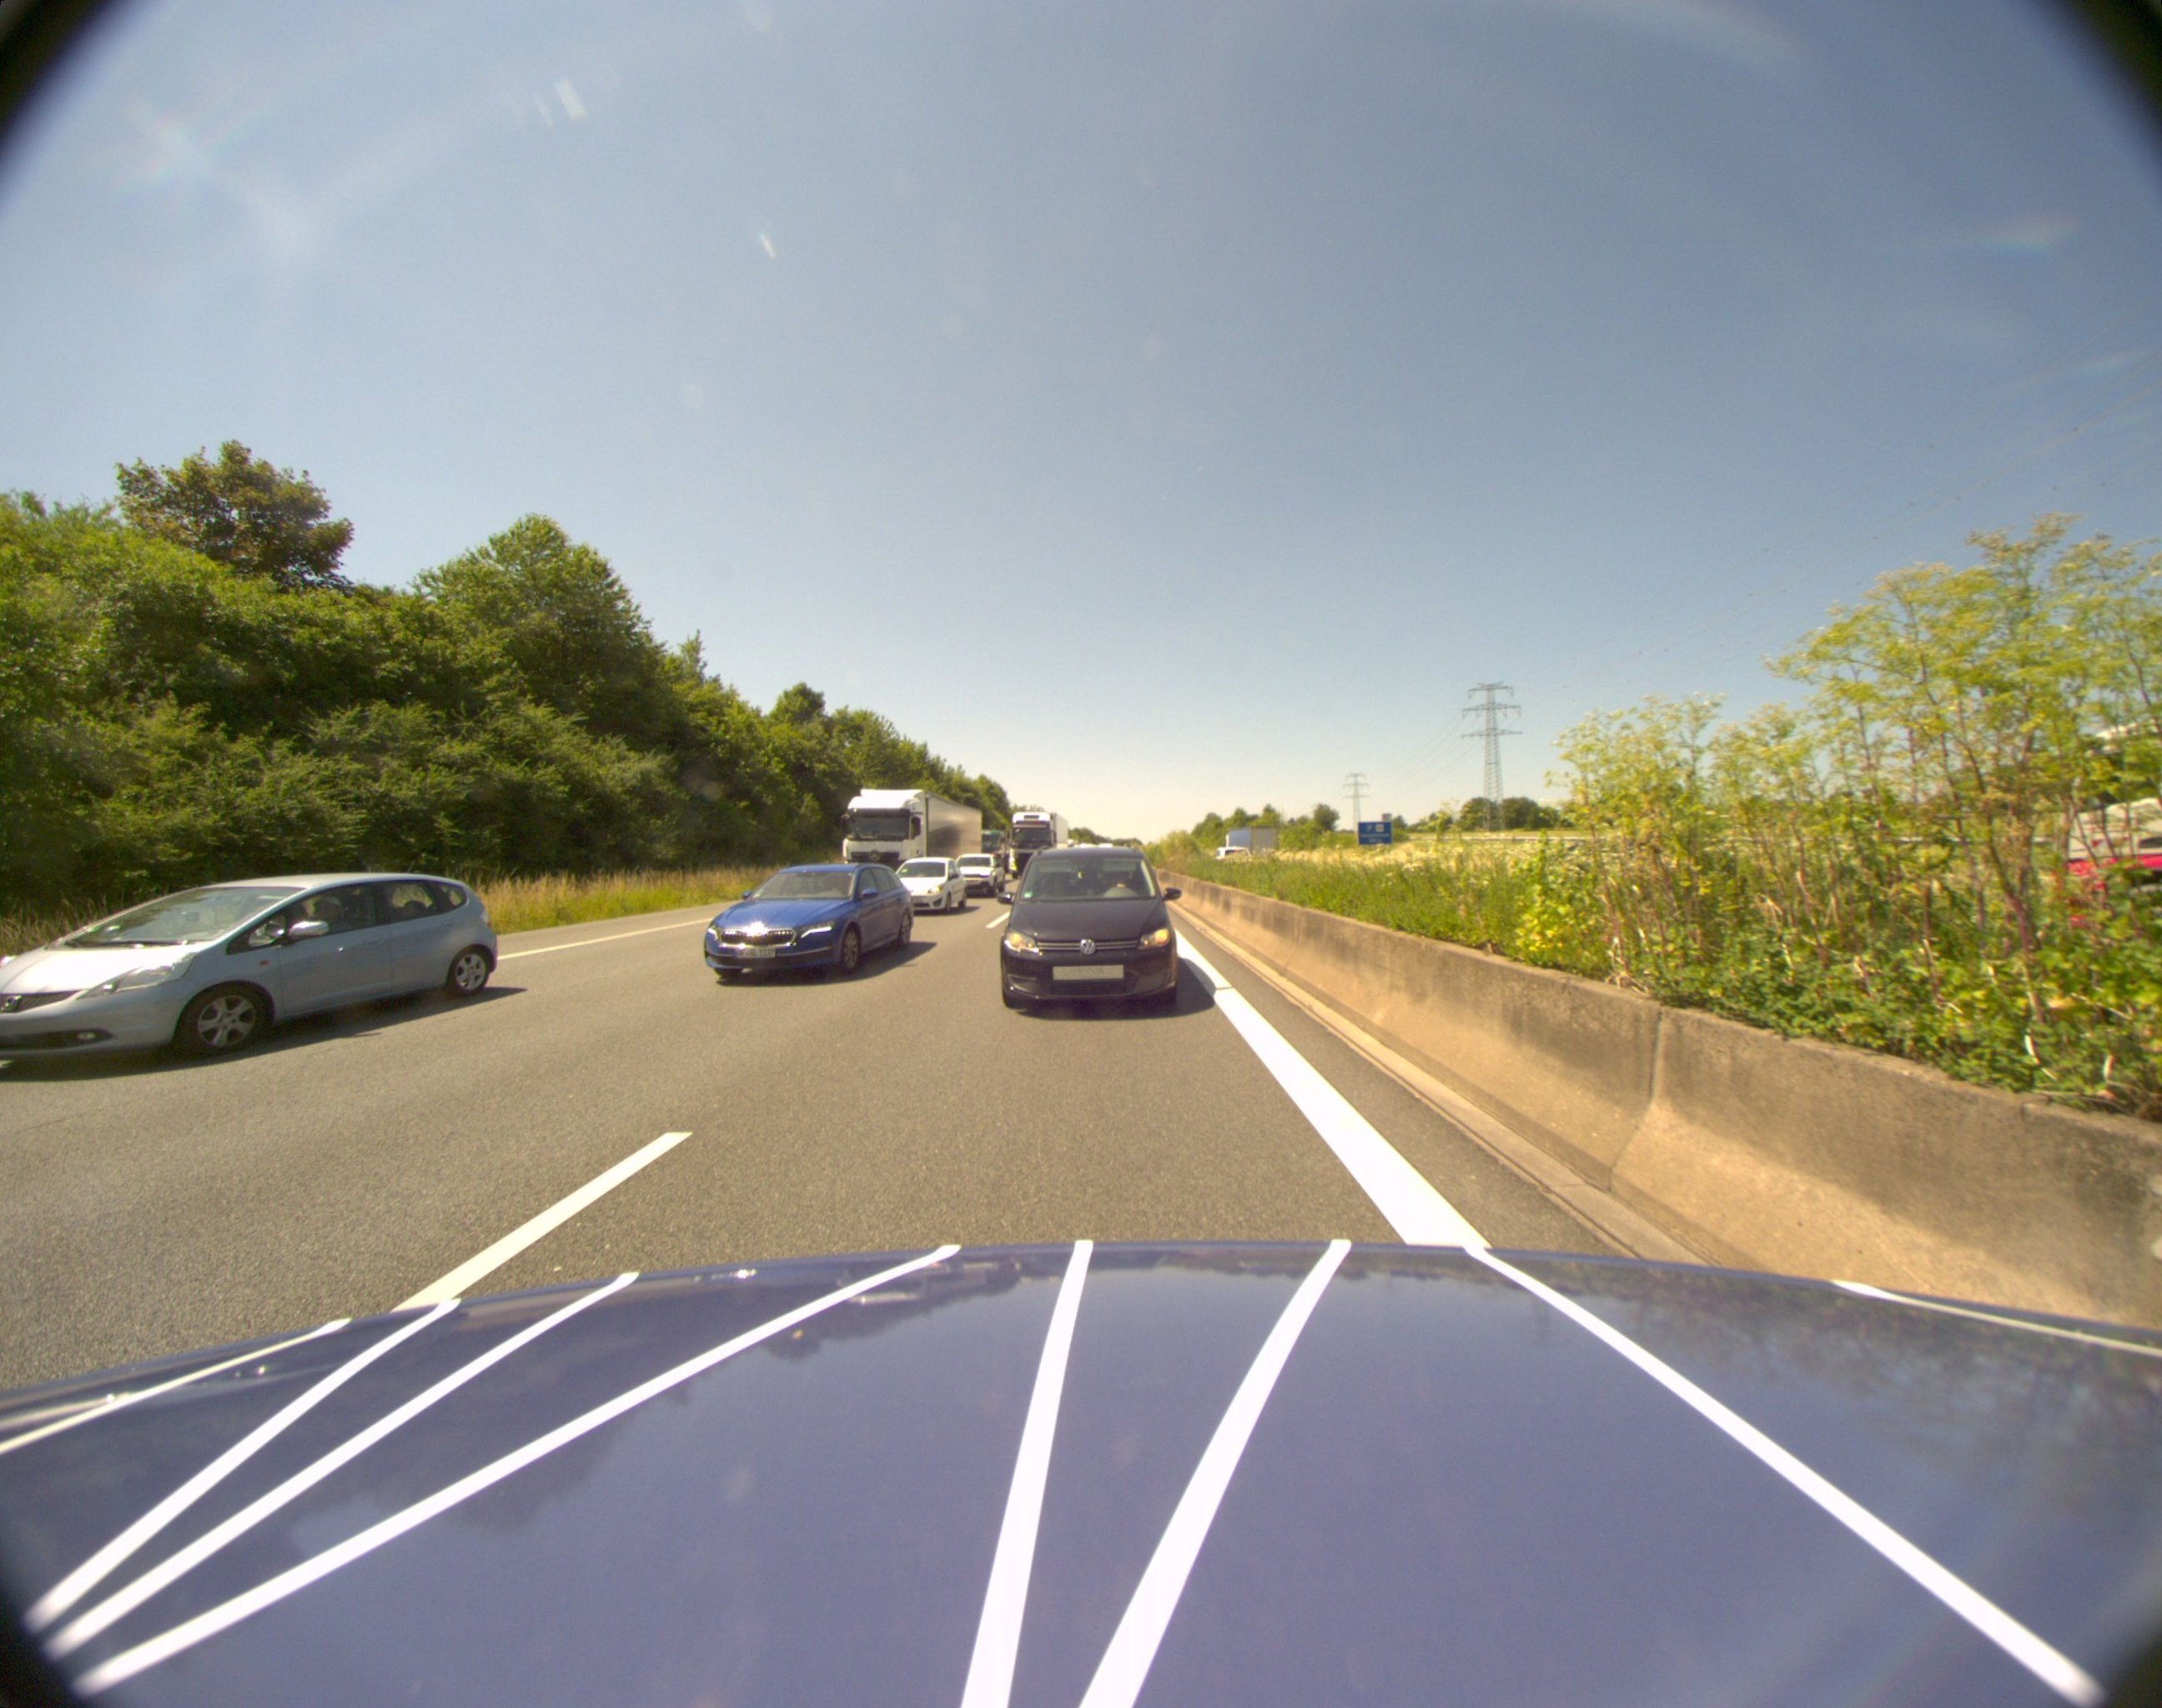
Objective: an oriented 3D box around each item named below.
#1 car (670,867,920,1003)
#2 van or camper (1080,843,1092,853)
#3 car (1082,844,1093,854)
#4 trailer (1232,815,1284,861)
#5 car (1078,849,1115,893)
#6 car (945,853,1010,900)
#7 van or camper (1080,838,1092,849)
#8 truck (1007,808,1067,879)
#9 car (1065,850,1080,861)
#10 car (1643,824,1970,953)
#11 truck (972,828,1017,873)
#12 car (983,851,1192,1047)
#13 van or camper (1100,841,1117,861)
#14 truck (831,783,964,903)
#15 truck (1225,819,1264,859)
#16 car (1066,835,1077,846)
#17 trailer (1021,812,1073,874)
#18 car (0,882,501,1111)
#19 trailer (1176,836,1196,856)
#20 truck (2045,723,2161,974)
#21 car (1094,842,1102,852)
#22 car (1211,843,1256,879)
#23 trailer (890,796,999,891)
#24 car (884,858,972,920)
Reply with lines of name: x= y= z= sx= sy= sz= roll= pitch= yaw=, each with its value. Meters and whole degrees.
car: x=-3.820 y=0.985 z=11.135 sx=1.780 sy=1.408 sz=4.572 roll=0 pitch=1 yaw=2
van or camper: x=1.060 y=-1.224 z=151.101 sx=2.189 sy=2.018 sz=4.364 roll=-1 pitch=1 yaw=3
car: x=1.140 y=-0.853 z=134.507 sx=1.652 sy=1.636 sz=4.000 roll=-1 pitch=1 yaw=3
trailer: x=17.851 y=-1.603 z=77.427 sx=3.019 sy=4.203 sz=10.980 roll=-2 pitch=1 yaw=2
car: x=0.666 y=0.670 z=31.205 sx=1.357 sy=1.630 sz=2.994 roll=-3 pitch=1 yaw=3
car: x=-3.727 y=0.773 z=27.974 sx=1.748 sy=1.549 sz=3.884 roll=0 pitch=1 yaw=2
van or camper: x=1.193 y=-2.711 z=191.760 sx=2.745 sy=2.680 sz=5.363 roll=-2 pitch=1 yaw=2
truck: x=-2.609 y=-0.665 z=47.687 sx=2.750 sy=3.972 sz=8.361 roll=-1 pitch=1 yaw=3
car: x=-1.101 y=0.174 z=95.502 sx=1.650 sy=1.336 sz=3.381 roll=-1 pitch=1 yaw=3
car: x=11.623 y=0.465 z=12.624 sx=1.609 sy=1.777 sz=4.026 roll=-1 pitch=1 yaw=1
truck: x=-6.305 y=-0.275 z=55.877 sx=2.299 sy=3.128 sz=5.675 roll=-1 pitch=1 yaw=3
car: x=0.145 y=0.803 z=9.131 sx=1.758 sy=1.571 sz=5.291 roll=-1 pitch=1 yaw=2
van or camper: x=3.453 y=-0.413 z=95.763 sx=1.956 sy=2.368 sz=4.037 roll=-3 pitch=1 yaw=3
truck: x=-7.113 y=-0.447 z=31.001 sx=2.879 sy=4.133 sz=8.475 roll=-1 pitch=1 yaw=3
truck: x=18.099 y=-1.675 z=84.591 sx=3.019 sy=4.203 sz=6.685 roll=-2 pitch=1 yaw=2
car: x=-1.790 y=-2.588 z=148.747 sx=1.998 sy=2.002 sz=4.000 roll=-2 pitch=1 yaw=2
trailer: x=-2.296 y=-0.794 z=54.456 sx=2.776 sy=3.951 sz=9.156 roll=-1 pitch=1 yaw=3
car: x=-7.990 y=1.088 z=7.364 sx=1.666 sy=1.453 sz=3.922 roll=0 pitch=1 yaw=1
trailer: x=22.446 y=-1.761 z=162.774 sx=2.828 sy=4.183 sz=10.684 roll=-3 pitch=1 yaw=2
truck: x=15.285 y=-0.049 z=5.193 sx=2.771 sy=3.269 sz=11.820 roll=-1 pitch=1 yaw=2
car: x=4.224 y=-1.772 z=190.747 sx=1.998 sy=2.302 sz=4.229 roll=-2 pitch=1 yaw=2
car: x=8.214 y=0.347 z=41.264 sx=1.685 sy=1.791 sz=3.669 roll=-1 pitch=1 yaw=0
trailer: x=-6.695 y=-0.548 z=39.737 sx=2.879 sy=4.133 sz=12.075 roll=-1 pitch=1 yaw=3
car: x=-4.072 y=0.889 z=20.792 sx=1.609 sy=1.426 sz=3.809 roll=0 pitch=1 yaw=0
